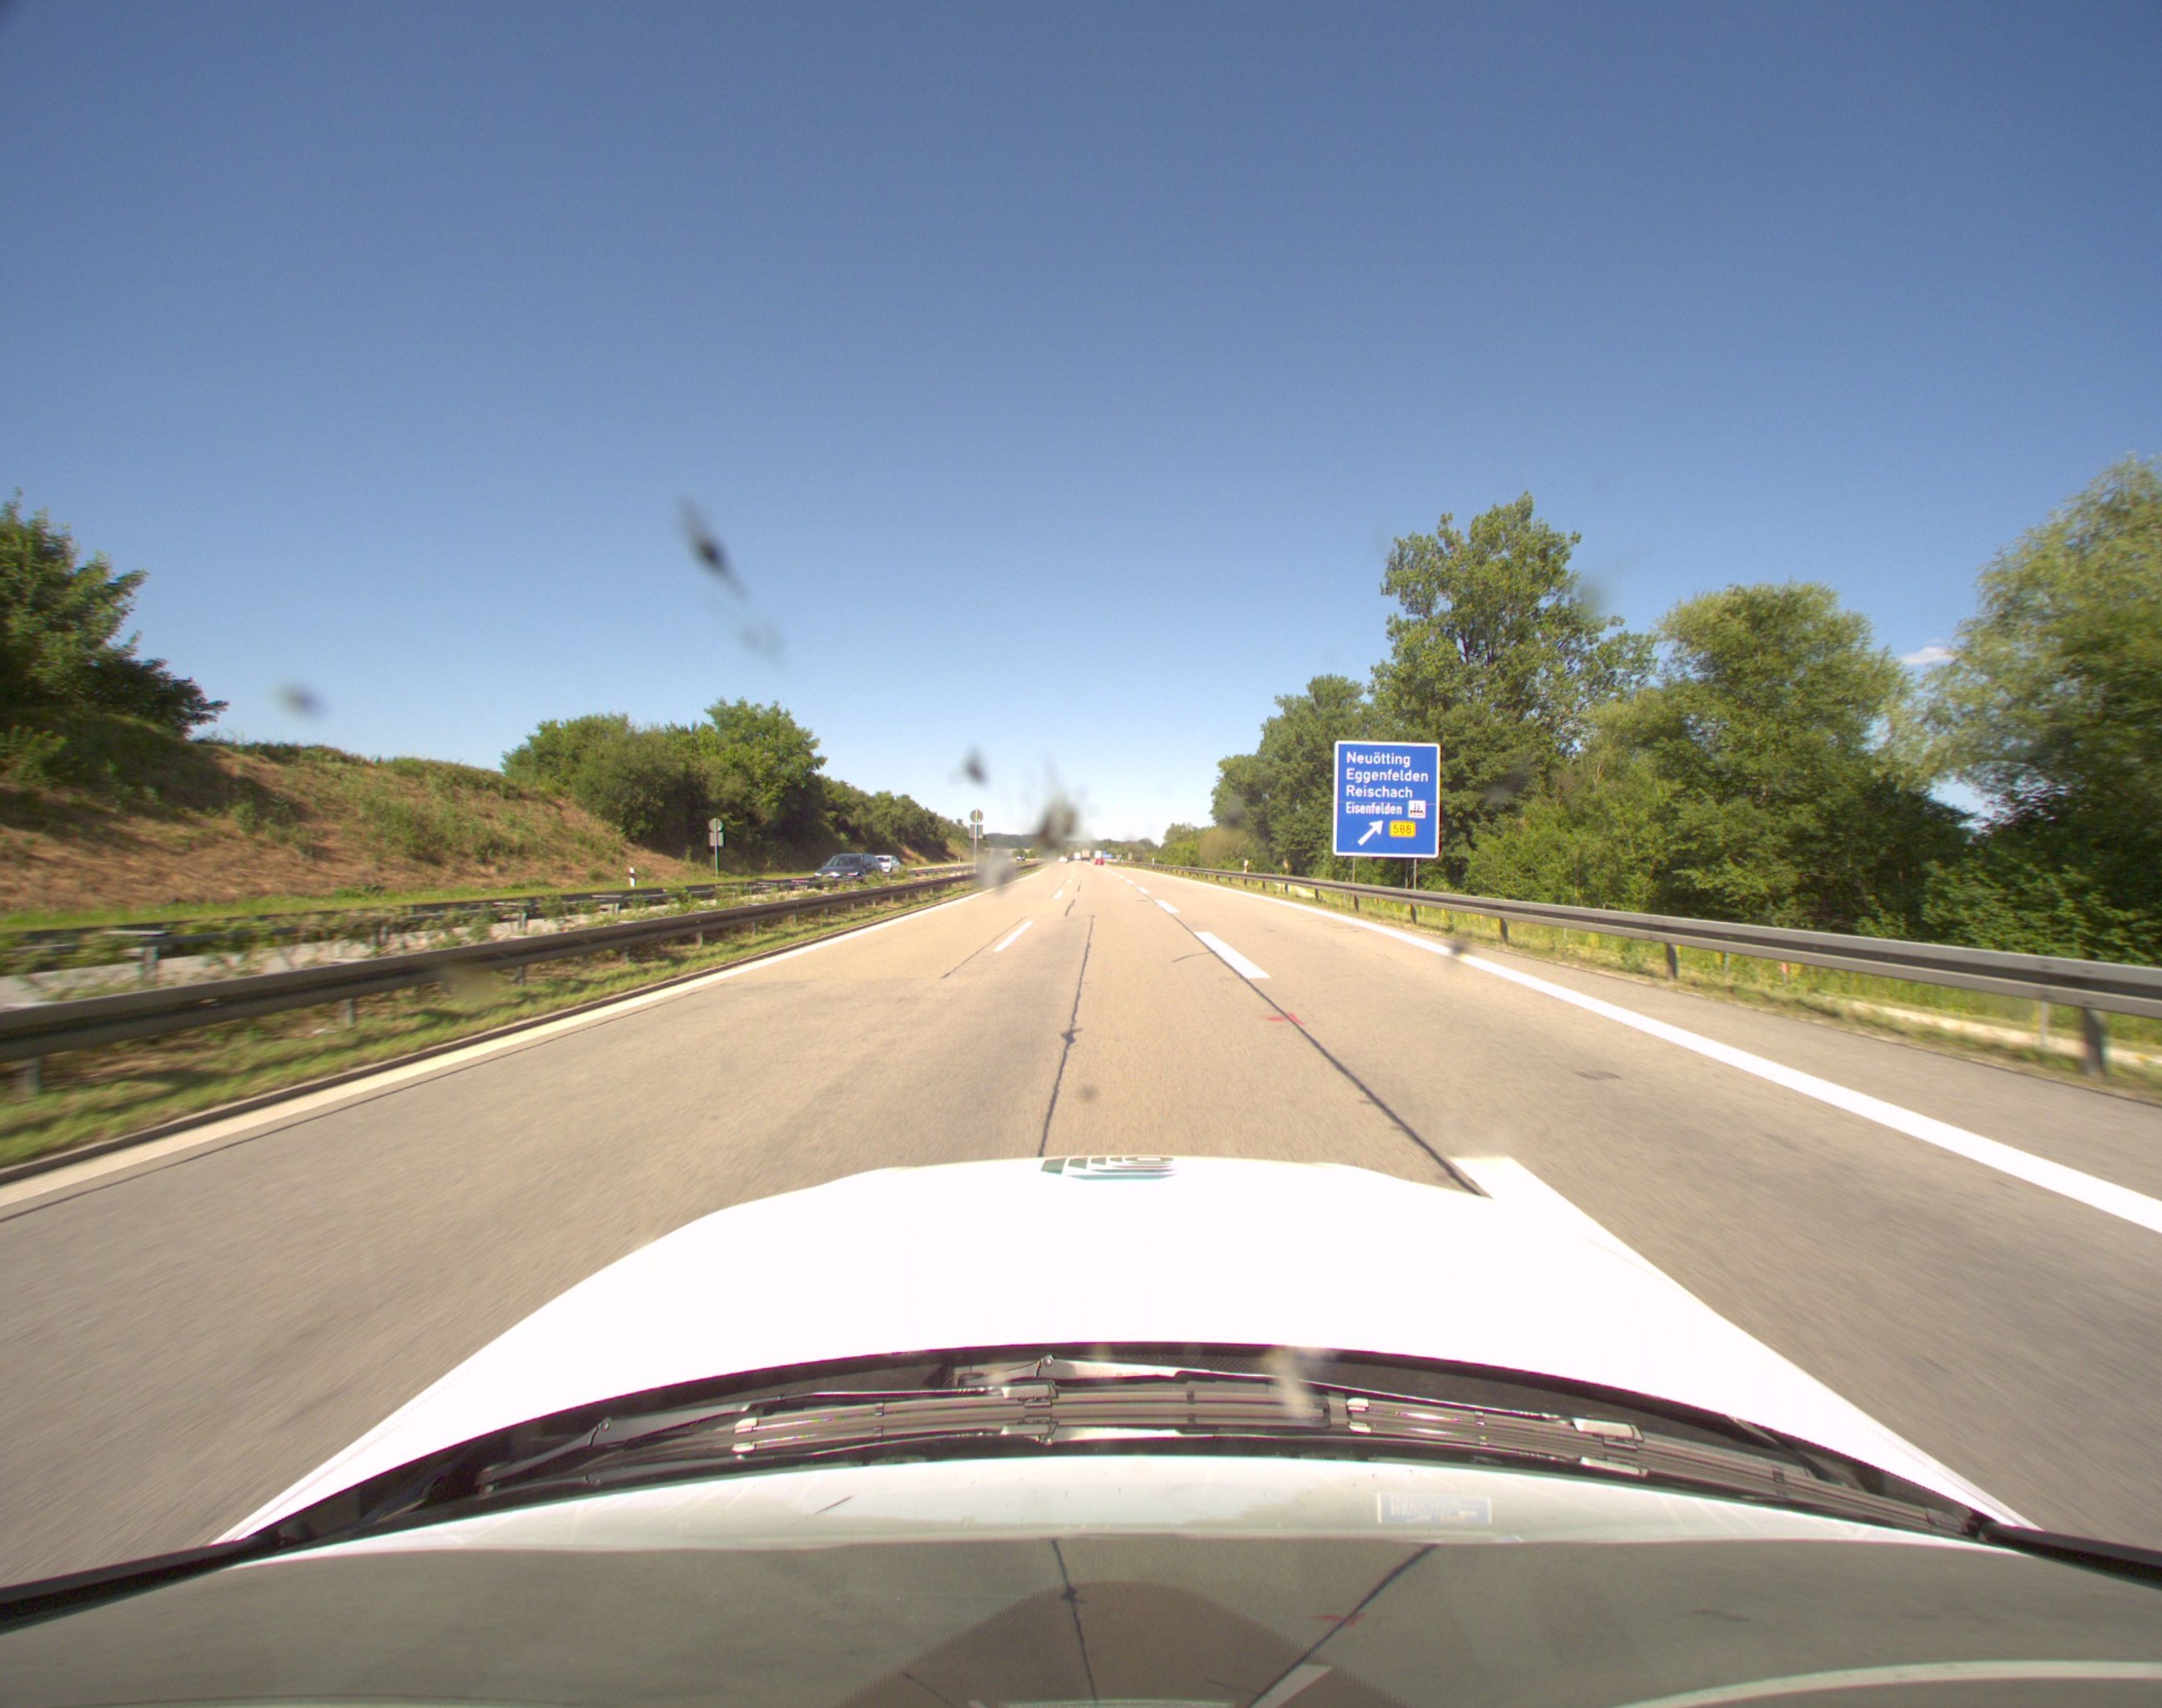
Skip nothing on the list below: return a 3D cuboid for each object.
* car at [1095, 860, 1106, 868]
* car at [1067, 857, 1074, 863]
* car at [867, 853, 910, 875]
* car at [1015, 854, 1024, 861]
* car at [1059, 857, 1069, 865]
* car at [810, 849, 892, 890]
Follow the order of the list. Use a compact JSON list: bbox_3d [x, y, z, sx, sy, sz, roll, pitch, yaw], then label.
[{"bbox_3d":[3.956,1.986,166.170,1.774,1.431,4.008,4,-1,8],"label":"car"},{"bbox_3d":[-2.924,1.755,233.596,1.988,1.750,3.998,1,0,-1],"label":"car"},{"bbox_3d":[-12.796,0.637,54.391,1.833,1.439,4.412,0,0,0],"label":"car"},{"bbox_3d":[-14.869,0.926,196.973,1.987,1.645,5.081,0,-1,-1],"label":"car"},{"bbox_3d":[-3.712,1.631,178.707,2.055,1.625,3.997,0,-3,-1],"label":"car"},{"bbox_3d":[-9.337,0.624,33.508,1.987,1.545,4.676,-1,-1,1],"label":"car"}]
